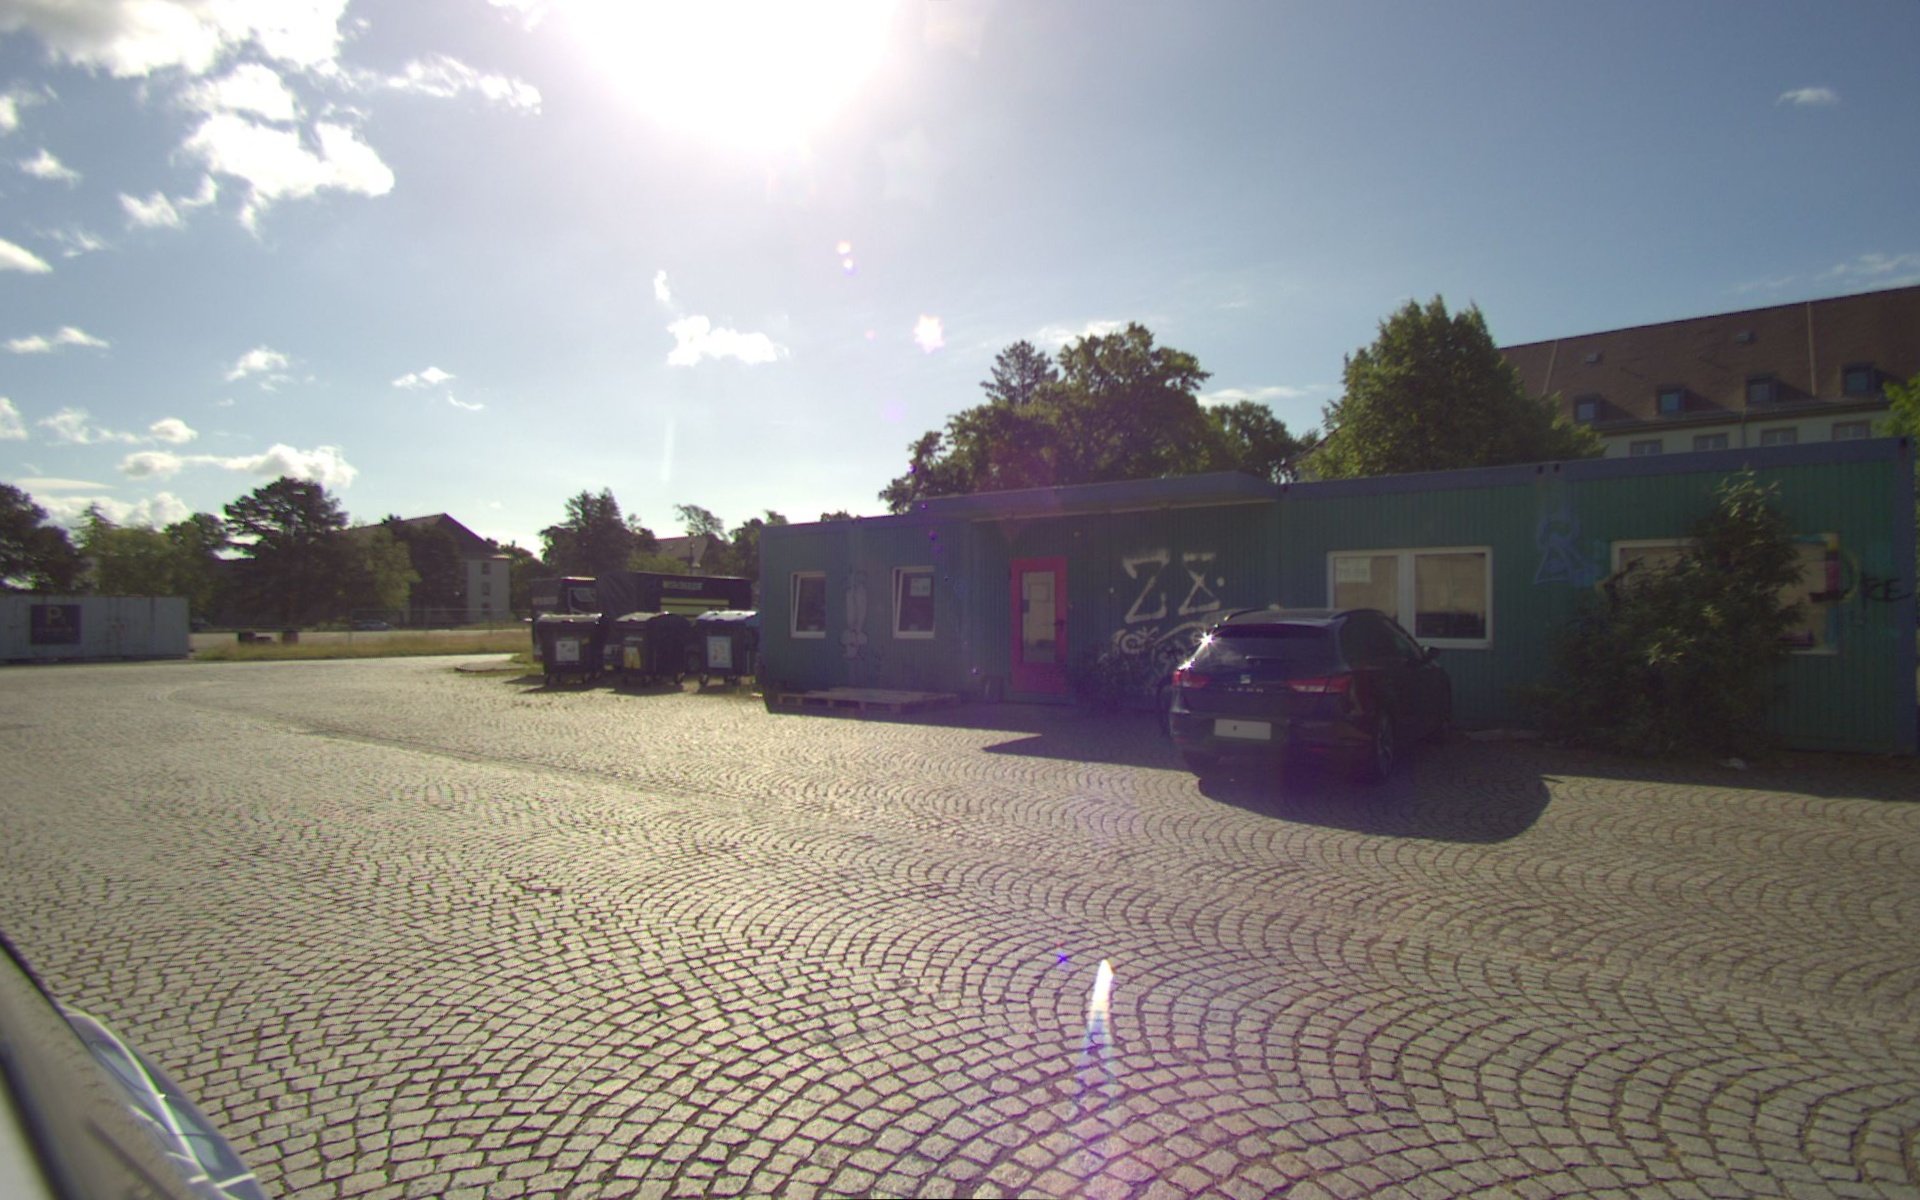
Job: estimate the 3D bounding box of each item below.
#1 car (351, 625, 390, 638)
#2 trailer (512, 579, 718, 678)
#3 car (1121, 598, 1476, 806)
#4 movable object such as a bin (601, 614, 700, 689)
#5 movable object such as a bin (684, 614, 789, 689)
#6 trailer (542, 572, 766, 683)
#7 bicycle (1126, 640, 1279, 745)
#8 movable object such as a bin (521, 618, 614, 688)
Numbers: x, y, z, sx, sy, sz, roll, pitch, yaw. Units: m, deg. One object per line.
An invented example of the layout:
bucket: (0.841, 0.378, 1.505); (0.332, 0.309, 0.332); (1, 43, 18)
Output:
car: (-76.395, 4.056, 131.182); (1.995, 1.594, 3.952); (-1, -1, 35)
trailer: (-8.804, 0.716, 26.157); (2.135, 2.315, 4.607); (-2, -2, 40)
car: (3.427, 0.747, 9.625); (1.996, 1.475, 4.375); (-1, -1, 36)
movable object such as a bin: (-6.210, 1.011, 20.305); (1.535, 1.433, 1.282); (-2, -2, 41)
movable object such as a bin: (-4.390, 0.994, 19.943); (1.528, 1.397, 1.373); (-1, -2, 27)
trailer: (-7.176, 0.636, 24.222); (2.091, 2.372, 4.915); (-1, -2, 35)
bicycle: (2.767, 0.989, 11.422); (1.037, 1.035, 1.857); (-2, -2, 37)
movable object such as a bin: (-8.201, 1.092, 21.242); (1.512, 1.397, 1.388); (0, -1, -5)
